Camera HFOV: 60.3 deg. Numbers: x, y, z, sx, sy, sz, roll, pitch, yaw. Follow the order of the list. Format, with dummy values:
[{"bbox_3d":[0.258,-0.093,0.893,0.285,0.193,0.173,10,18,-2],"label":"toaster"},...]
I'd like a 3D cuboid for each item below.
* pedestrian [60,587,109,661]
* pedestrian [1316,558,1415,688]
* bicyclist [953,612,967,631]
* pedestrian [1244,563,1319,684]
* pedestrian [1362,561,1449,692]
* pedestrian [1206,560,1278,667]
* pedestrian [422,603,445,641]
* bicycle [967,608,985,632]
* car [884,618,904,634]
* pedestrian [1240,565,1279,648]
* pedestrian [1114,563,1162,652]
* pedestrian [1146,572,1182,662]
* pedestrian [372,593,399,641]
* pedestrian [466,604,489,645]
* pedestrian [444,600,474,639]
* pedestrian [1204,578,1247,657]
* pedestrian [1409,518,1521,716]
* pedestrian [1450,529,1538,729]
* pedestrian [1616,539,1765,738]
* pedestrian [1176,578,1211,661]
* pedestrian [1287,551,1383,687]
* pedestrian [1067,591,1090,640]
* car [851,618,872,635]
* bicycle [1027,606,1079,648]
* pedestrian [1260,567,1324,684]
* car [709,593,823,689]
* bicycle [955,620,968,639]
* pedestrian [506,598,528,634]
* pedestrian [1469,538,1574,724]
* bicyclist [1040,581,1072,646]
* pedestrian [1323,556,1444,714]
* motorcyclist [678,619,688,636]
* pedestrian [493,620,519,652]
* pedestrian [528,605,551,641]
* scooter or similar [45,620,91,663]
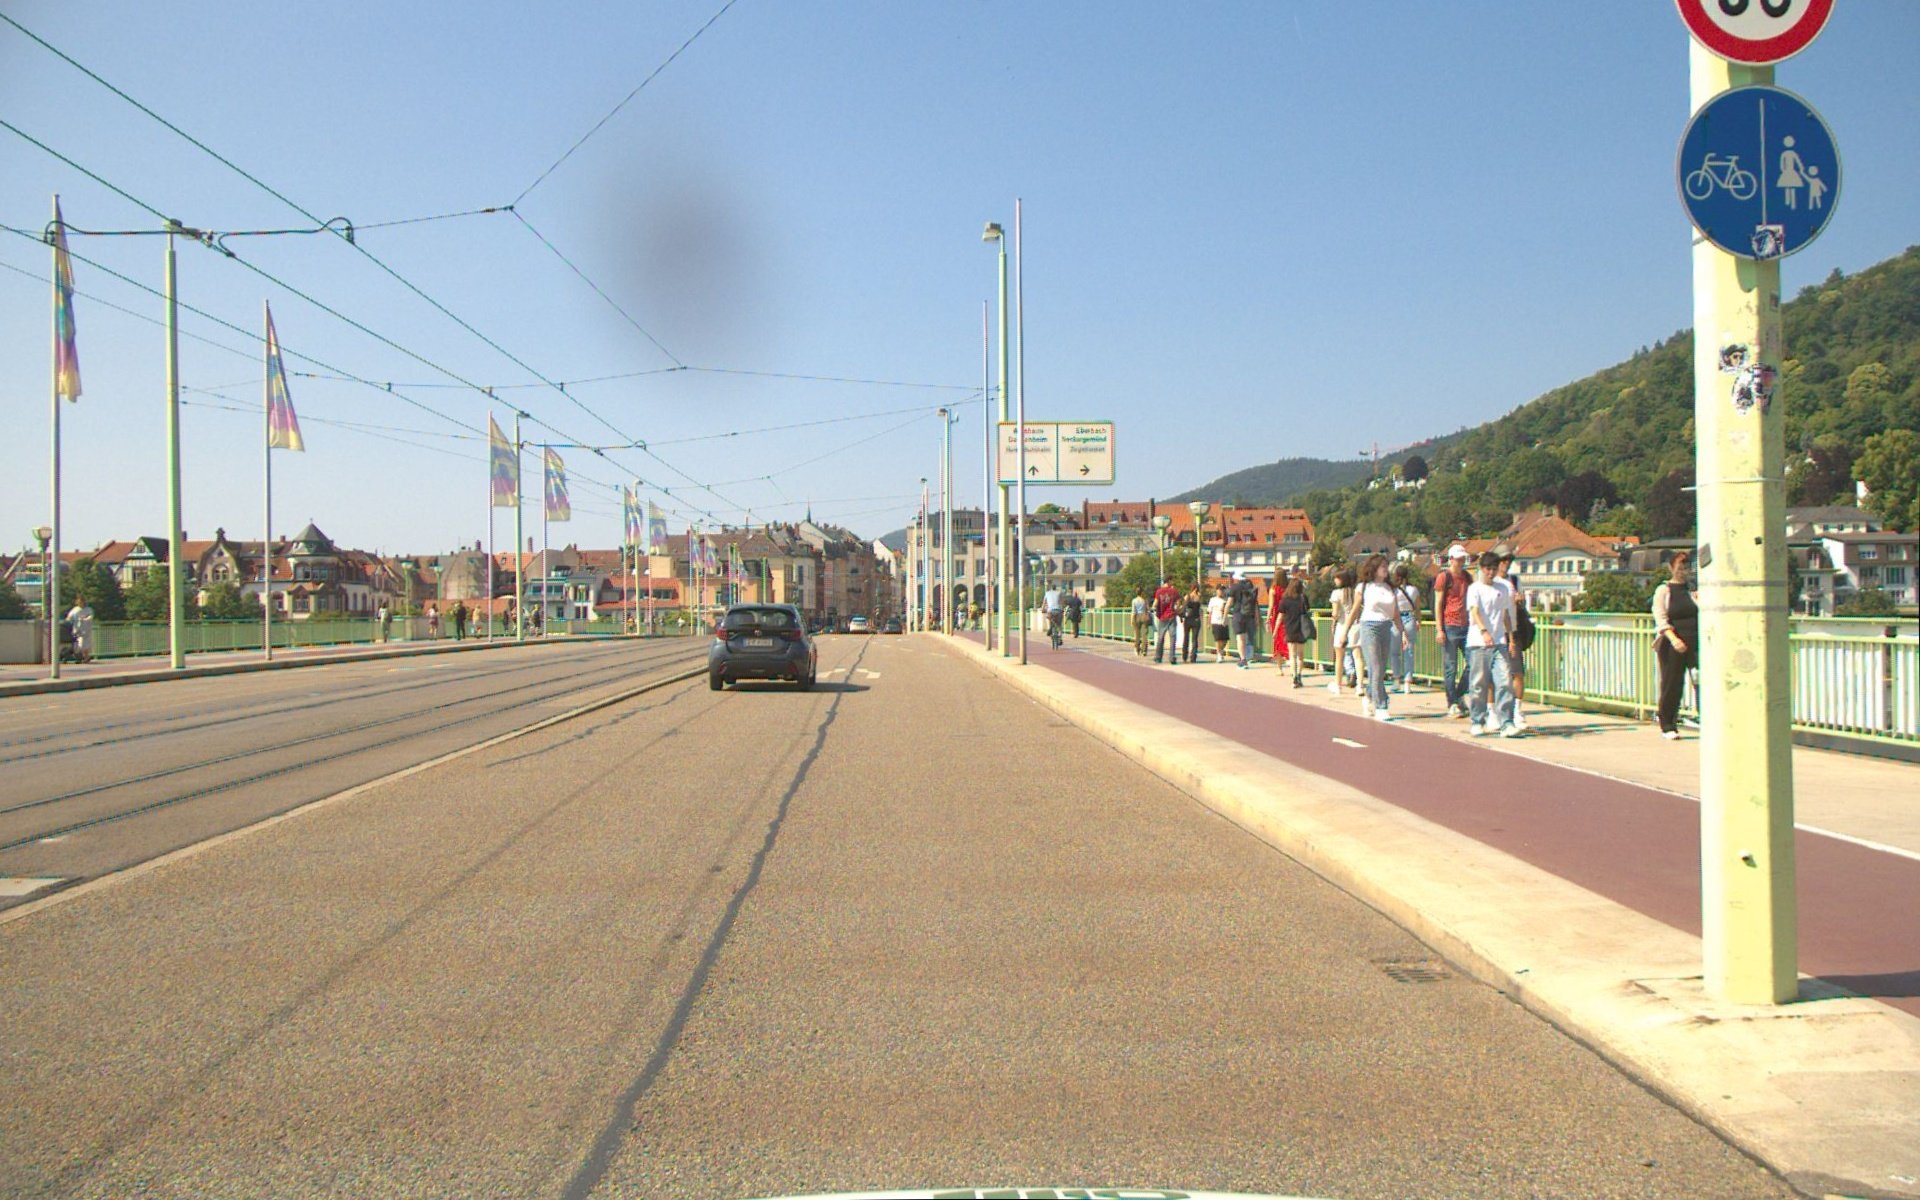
[{"bbox_3d":[-22.926,0.630,43.333,0.724,1.886,0.974,3,-1,-5],"label":"pedestrian"},{"bbox_3d":[5.856,0.325,23.951,0.966,1.800,1.252,-1,0,-9],"label":"pedestrian"},{"bbox_3d":[0.014,1.248,95.797,0.721,1.049,1.174,0,-1,-5],"label":"bicyclist"},{"bbox_3d":[5.377,0.398,27.711,0.995,1.988,0.938,0,-1,-5],"label":"pedestrian"},{"bbox_3d":[5.948,0.350,22.105,0.818,1.706,0.884,0,-1,-9],"label":"pedestrian"},{"bbox_3d":[5.195,0.250,30.538,0.966,1.928,1.252,0,-1,-9],"label":"pedestrian"},{"bbox_3d":[-24.474,1.030,76.904,0.739,1.752,1.174,0,-2,-5],"label":"pedestrian"},{"bbox_3d":[0.850,1.068,88.261,0.682,1.214,2.076,-1,-2,-7],"label":"bicycle"},{"bbox_3d":[-6.522,2.607,164.201,1.767,1.494,3.999,-2,-1,-1],"label":"car"},{"bbox_3d":[6.062,0.130,33.478,0.636,1.660,0.691,1,-1,-2],"label":"pedestrian"},{"bbox_3d":[4.187,0.182,38.968,0.857,2.049,1.057,0,-1,-9],"label":"pedestrian"},{"bbox_3d":[4.178,0.341,33.944,0.574,1.825,0.631,0,-1,-8],"label":"pedestrian"},{"bbox_3d":[-24.553,0.716,70.706,0.881,2.049,1.041,0,-1,-5],"label":"pedestrian"},{"bbox_3d":[-24.132,1.231,82.730,0.950,2.049,1.099,0,-1,-8],"label":"pedestrian"},{"bbox_3d":[-23.376,0.910,77.153,1.076,1.789,1.293,0,0,-5],"label":"pedestrian"},{"bbox_3d":[5.421,0.357,33.756,0.638,1.590,0.690,-1,0,-10],"label":"pedestrian"},{"bbox_3d":[5.375,0.179,17.651,0.788,2.049,0.952,0,-1,-9],"label":"pedestrian"},{"bbox_3d":[4.987,0.268,15.469,0.538,1.830,0.644,0,-1,-9],"label":"pedestrian"},{"bbox_3d":[6.353,0.325,14.432,0.784,1.664,0.948,-1,-1,-9],"label":"pedestrian"},{"bbox_3d":[4.786,0.402,33.948,0.513,1.678,0.698,0,-1,-8],"label":"pedestrian"},{"bbox_3d":[5.009,0.255,22.122,0.966,1.781,0.928,0,-1,-9],"label":"pedestrian"},{"bbox_3d":[4.351,0.571,60.779,0.642,1.774,0.976,0,0,-9],"label":"pedestrian"},{"bbox_3d":[-9.076,2.431,152.360,1.769,1.494,3.995,-2,-1,-6],"label":"car"},{"bbox_3d":[2.548,0.743,45.959,0.777,1.115,3.738,-1,-1,-7],"label":"bicycle"},{"bbox_3d":[4.850,0.376,24.194,0.642,1.679,0.866,0,-1,-9],"label":"pedestrian"},{"bbox_3d":[-3.416,0.696,29.642,1.873,1.567,3.995,1,0,-5],"label":"car"},{"bbox_3d":[0.070,1.704,95.779,0.606,1.056,2.049,0,-1,-5],"label":"bicycle"},{"bbox_3d":[-25.387,0.895,94.794,1.076,2.049,1.128,0,-1,-6],"label":"pedestrian"},{"bbox_3d":[5.412,0.297,15.963,0.682,1.747,0.730,0,-1,-9],"label":"pedestrian"},{"bbox_3d":[2.644,0.367,45.840,0.660,1.774,1.148,-1,-1,-7],"label":"bicyclist"},{"bbox_3d":[4.519,0.368,17.709,0.966,1.644,0.919,0,-1,-9],"label":"pedestrian"},{"bbox_3d":[-26.116,2.601,155.891,0.784,1.576,1.068,0,-1,-4],"label":"motorcyclist"},{"bbox_3d":[-25.839,2.031,94.120,1.075,1.760,1.295,-3,-2,-1],"label":"pedestrian"},{"bbox_3d":[-23.888,1.303,93.960,1.076,2.049,1.293,0,-1,-5],"label":"pedestrian"},{"bbox_3d":[-22.861,1.069,42.414,0.724,1.047,0.832,3,-1,-5],"label":"scooter or similar"}]
